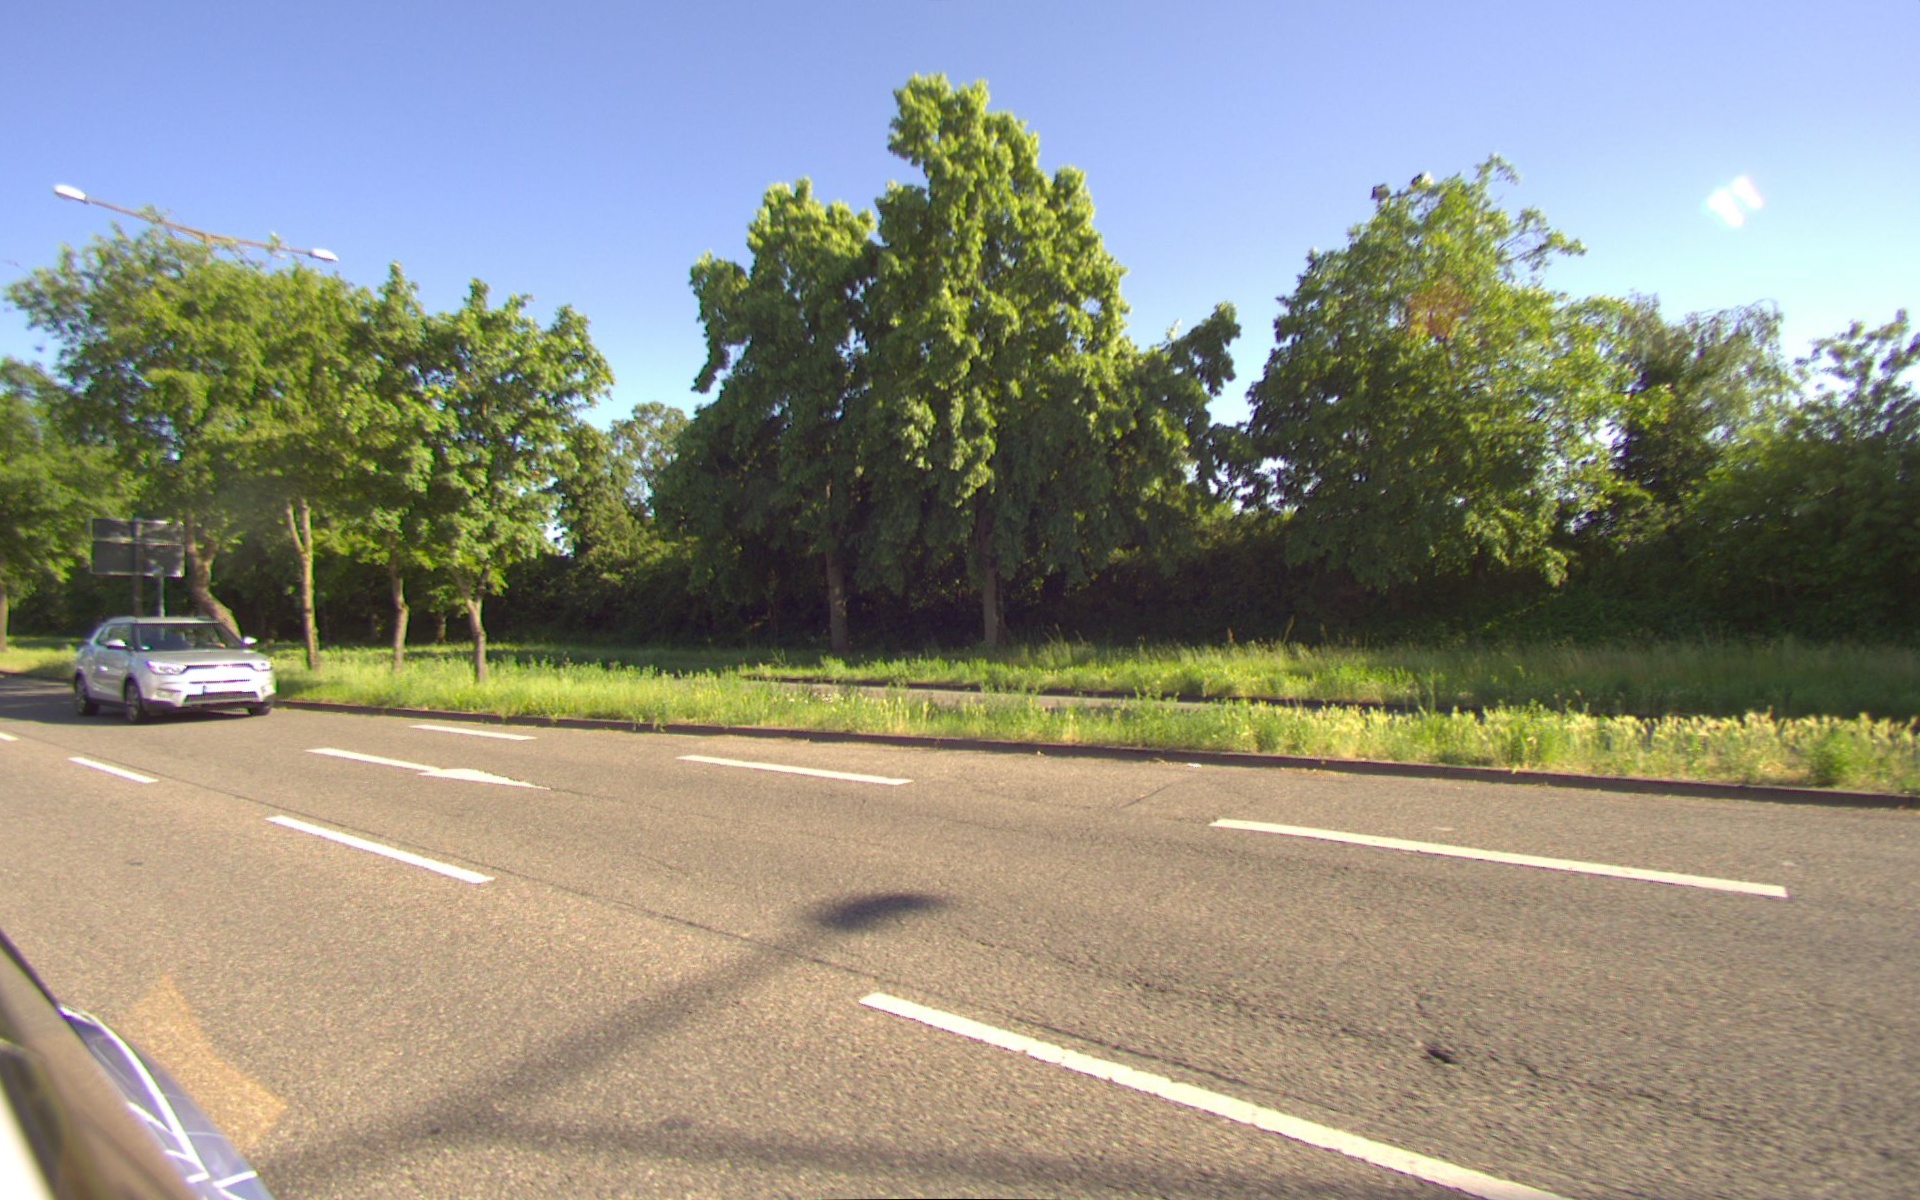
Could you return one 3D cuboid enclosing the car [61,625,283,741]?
[{"bbox_3d":[-12.658,1.244,16.192,4.098,1.622,1.768,-2,-3,37],"label":"car"}]
